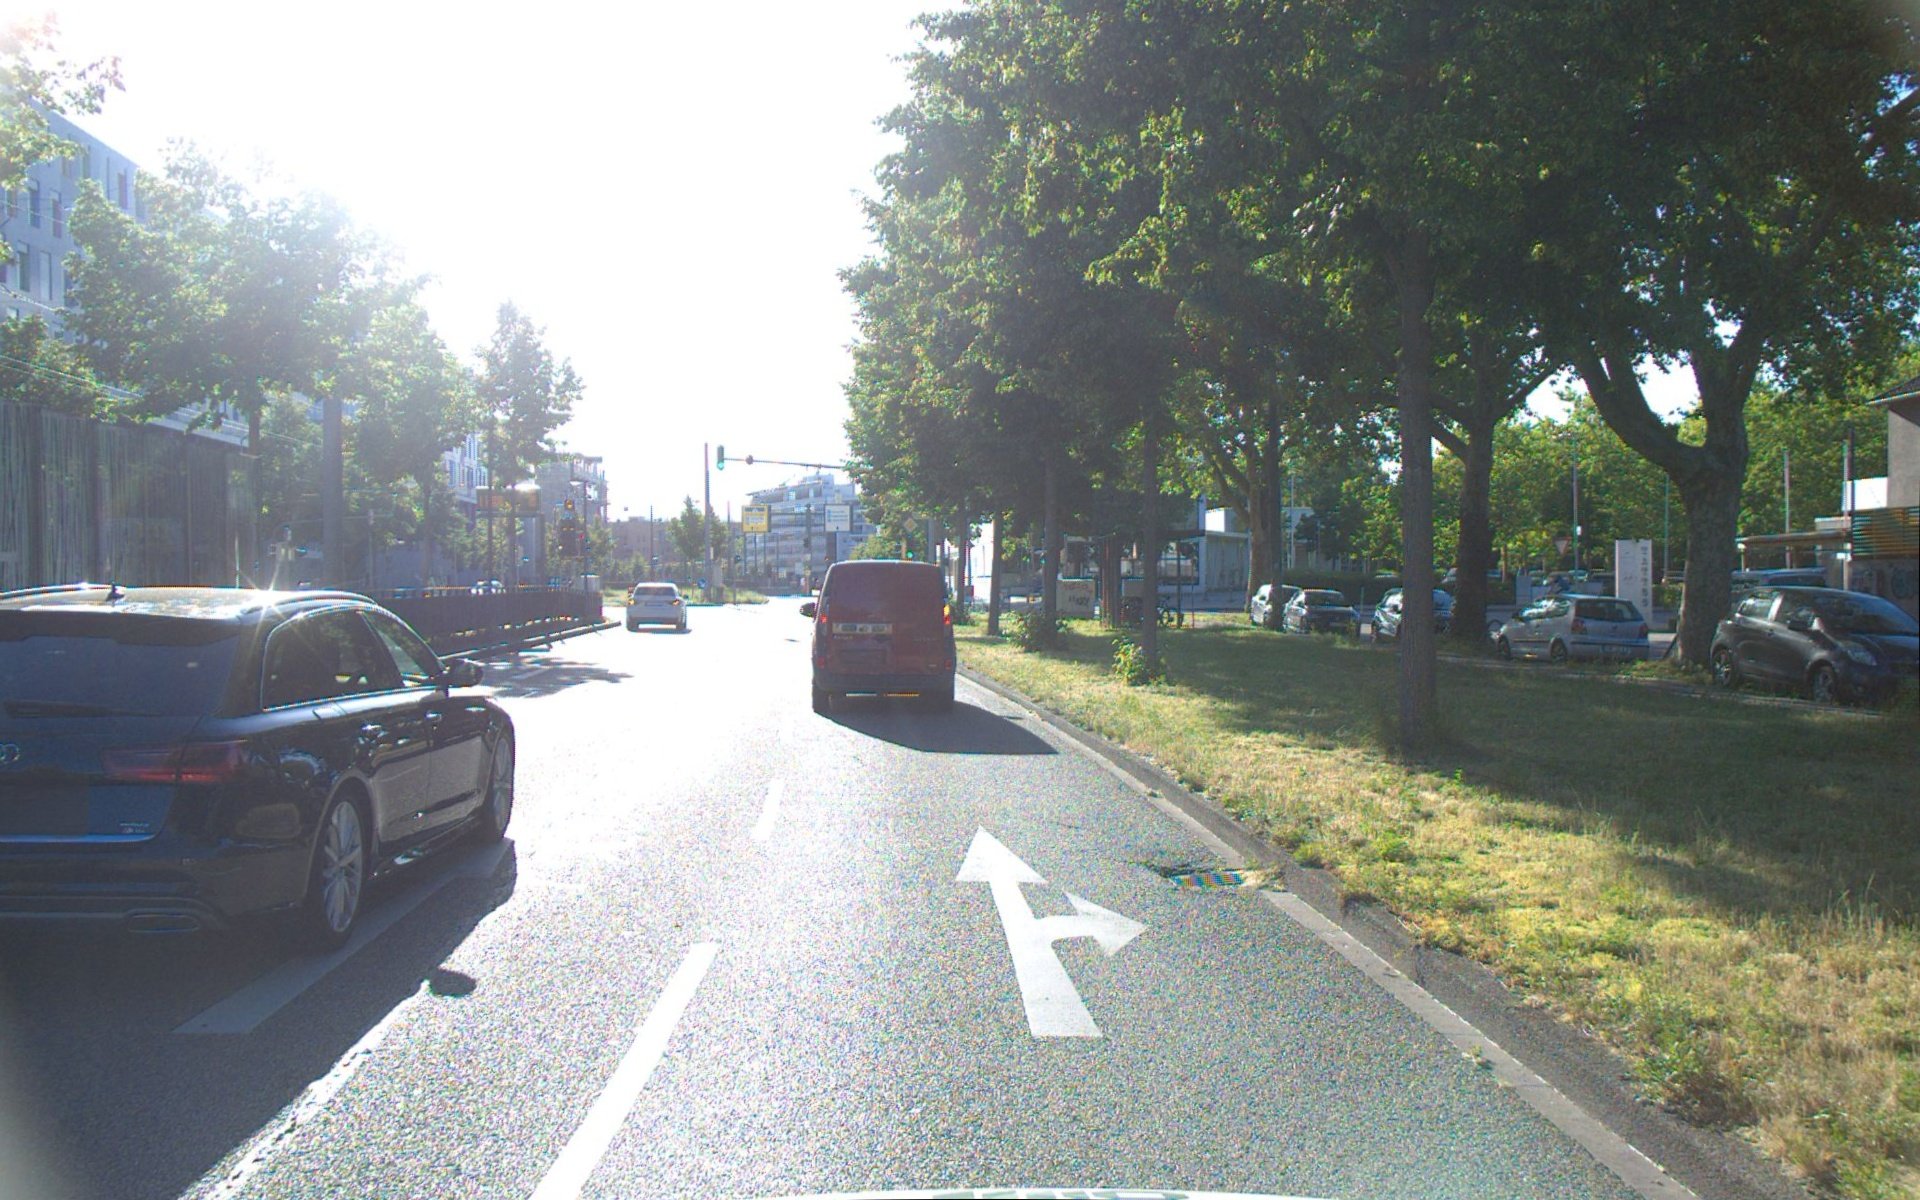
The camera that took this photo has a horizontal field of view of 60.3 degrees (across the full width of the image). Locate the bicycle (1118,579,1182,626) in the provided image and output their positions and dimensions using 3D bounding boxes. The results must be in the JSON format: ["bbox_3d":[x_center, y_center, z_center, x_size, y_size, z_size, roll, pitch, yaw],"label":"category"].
[{"bbox_3d":[5.469,0.074,47.559,1.743,1.290,0.479,1,0,-4],"label":"bicycle"}]

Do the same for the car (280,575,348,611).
[{"bbox_3d":[-33.294,-0.363,85.352,1.953,1.795,3.999,1,0,-1],"label":"car"}]

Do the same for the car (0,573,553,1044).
[{"bbox_3d":[-3.397,0.640,7.844,1.914,1.506,5.082,1,1,-3],"label":"car"}]

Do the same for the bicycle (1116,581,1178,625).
[{"bbox_3d":[5.510,0.084,48.715,1.743,1.290,0.479,0,0,-4],"label":"bicycle"}]

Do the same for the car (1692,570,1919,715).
[{"bbox_3d":[11.489,0.520,21.803,1.833,1.713,3.999,1,0,-1],"label":"car"}]

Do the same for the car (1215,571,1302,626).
[{"bbox_3d":[9.835,-0.043,54.804,1.834,1.713,3.996,1,0,-5],"label":"car"}]

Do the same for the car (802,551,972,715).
[{"bbox_3d":[-1.026,0.380,21.100,1.775,1.870,3.993,1,0,-8],"label":"car"}]

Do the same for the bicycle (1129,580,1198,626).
[{"bbox_3d":[5.752,0.081,46.716,1.880,1.290,0.479,0,0,-4],"label":"bicycle"}]

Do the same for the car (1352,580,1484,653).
[{"bbox_3d":[11.317,0.388,41.144,1.835,1.713,3.995,1,0,-6],"label":"car"}]

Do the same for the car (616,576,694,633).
[{"bbox_3d":[-9.425,0.134,51.409,1.955,1.646,3.996,1,0,-5],"label":"car"}]

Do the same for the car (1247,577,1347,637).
[{"bbox_3d":[10.190,0.194,50.269,1.835,1.713,3.995,1,0,-6],"label":"car"}]

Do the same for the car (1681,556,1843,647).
[{"bbox_3d":[19.425,0.034,40.262,1.953,2.049,4.000,-2,0,0],"label":"car"}]

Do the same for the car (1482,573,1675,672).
[{"bbox_3d":[11.697,0.397,31.582,1.835,1.713,3.995,-1,0,-6],"label":"car"}]
